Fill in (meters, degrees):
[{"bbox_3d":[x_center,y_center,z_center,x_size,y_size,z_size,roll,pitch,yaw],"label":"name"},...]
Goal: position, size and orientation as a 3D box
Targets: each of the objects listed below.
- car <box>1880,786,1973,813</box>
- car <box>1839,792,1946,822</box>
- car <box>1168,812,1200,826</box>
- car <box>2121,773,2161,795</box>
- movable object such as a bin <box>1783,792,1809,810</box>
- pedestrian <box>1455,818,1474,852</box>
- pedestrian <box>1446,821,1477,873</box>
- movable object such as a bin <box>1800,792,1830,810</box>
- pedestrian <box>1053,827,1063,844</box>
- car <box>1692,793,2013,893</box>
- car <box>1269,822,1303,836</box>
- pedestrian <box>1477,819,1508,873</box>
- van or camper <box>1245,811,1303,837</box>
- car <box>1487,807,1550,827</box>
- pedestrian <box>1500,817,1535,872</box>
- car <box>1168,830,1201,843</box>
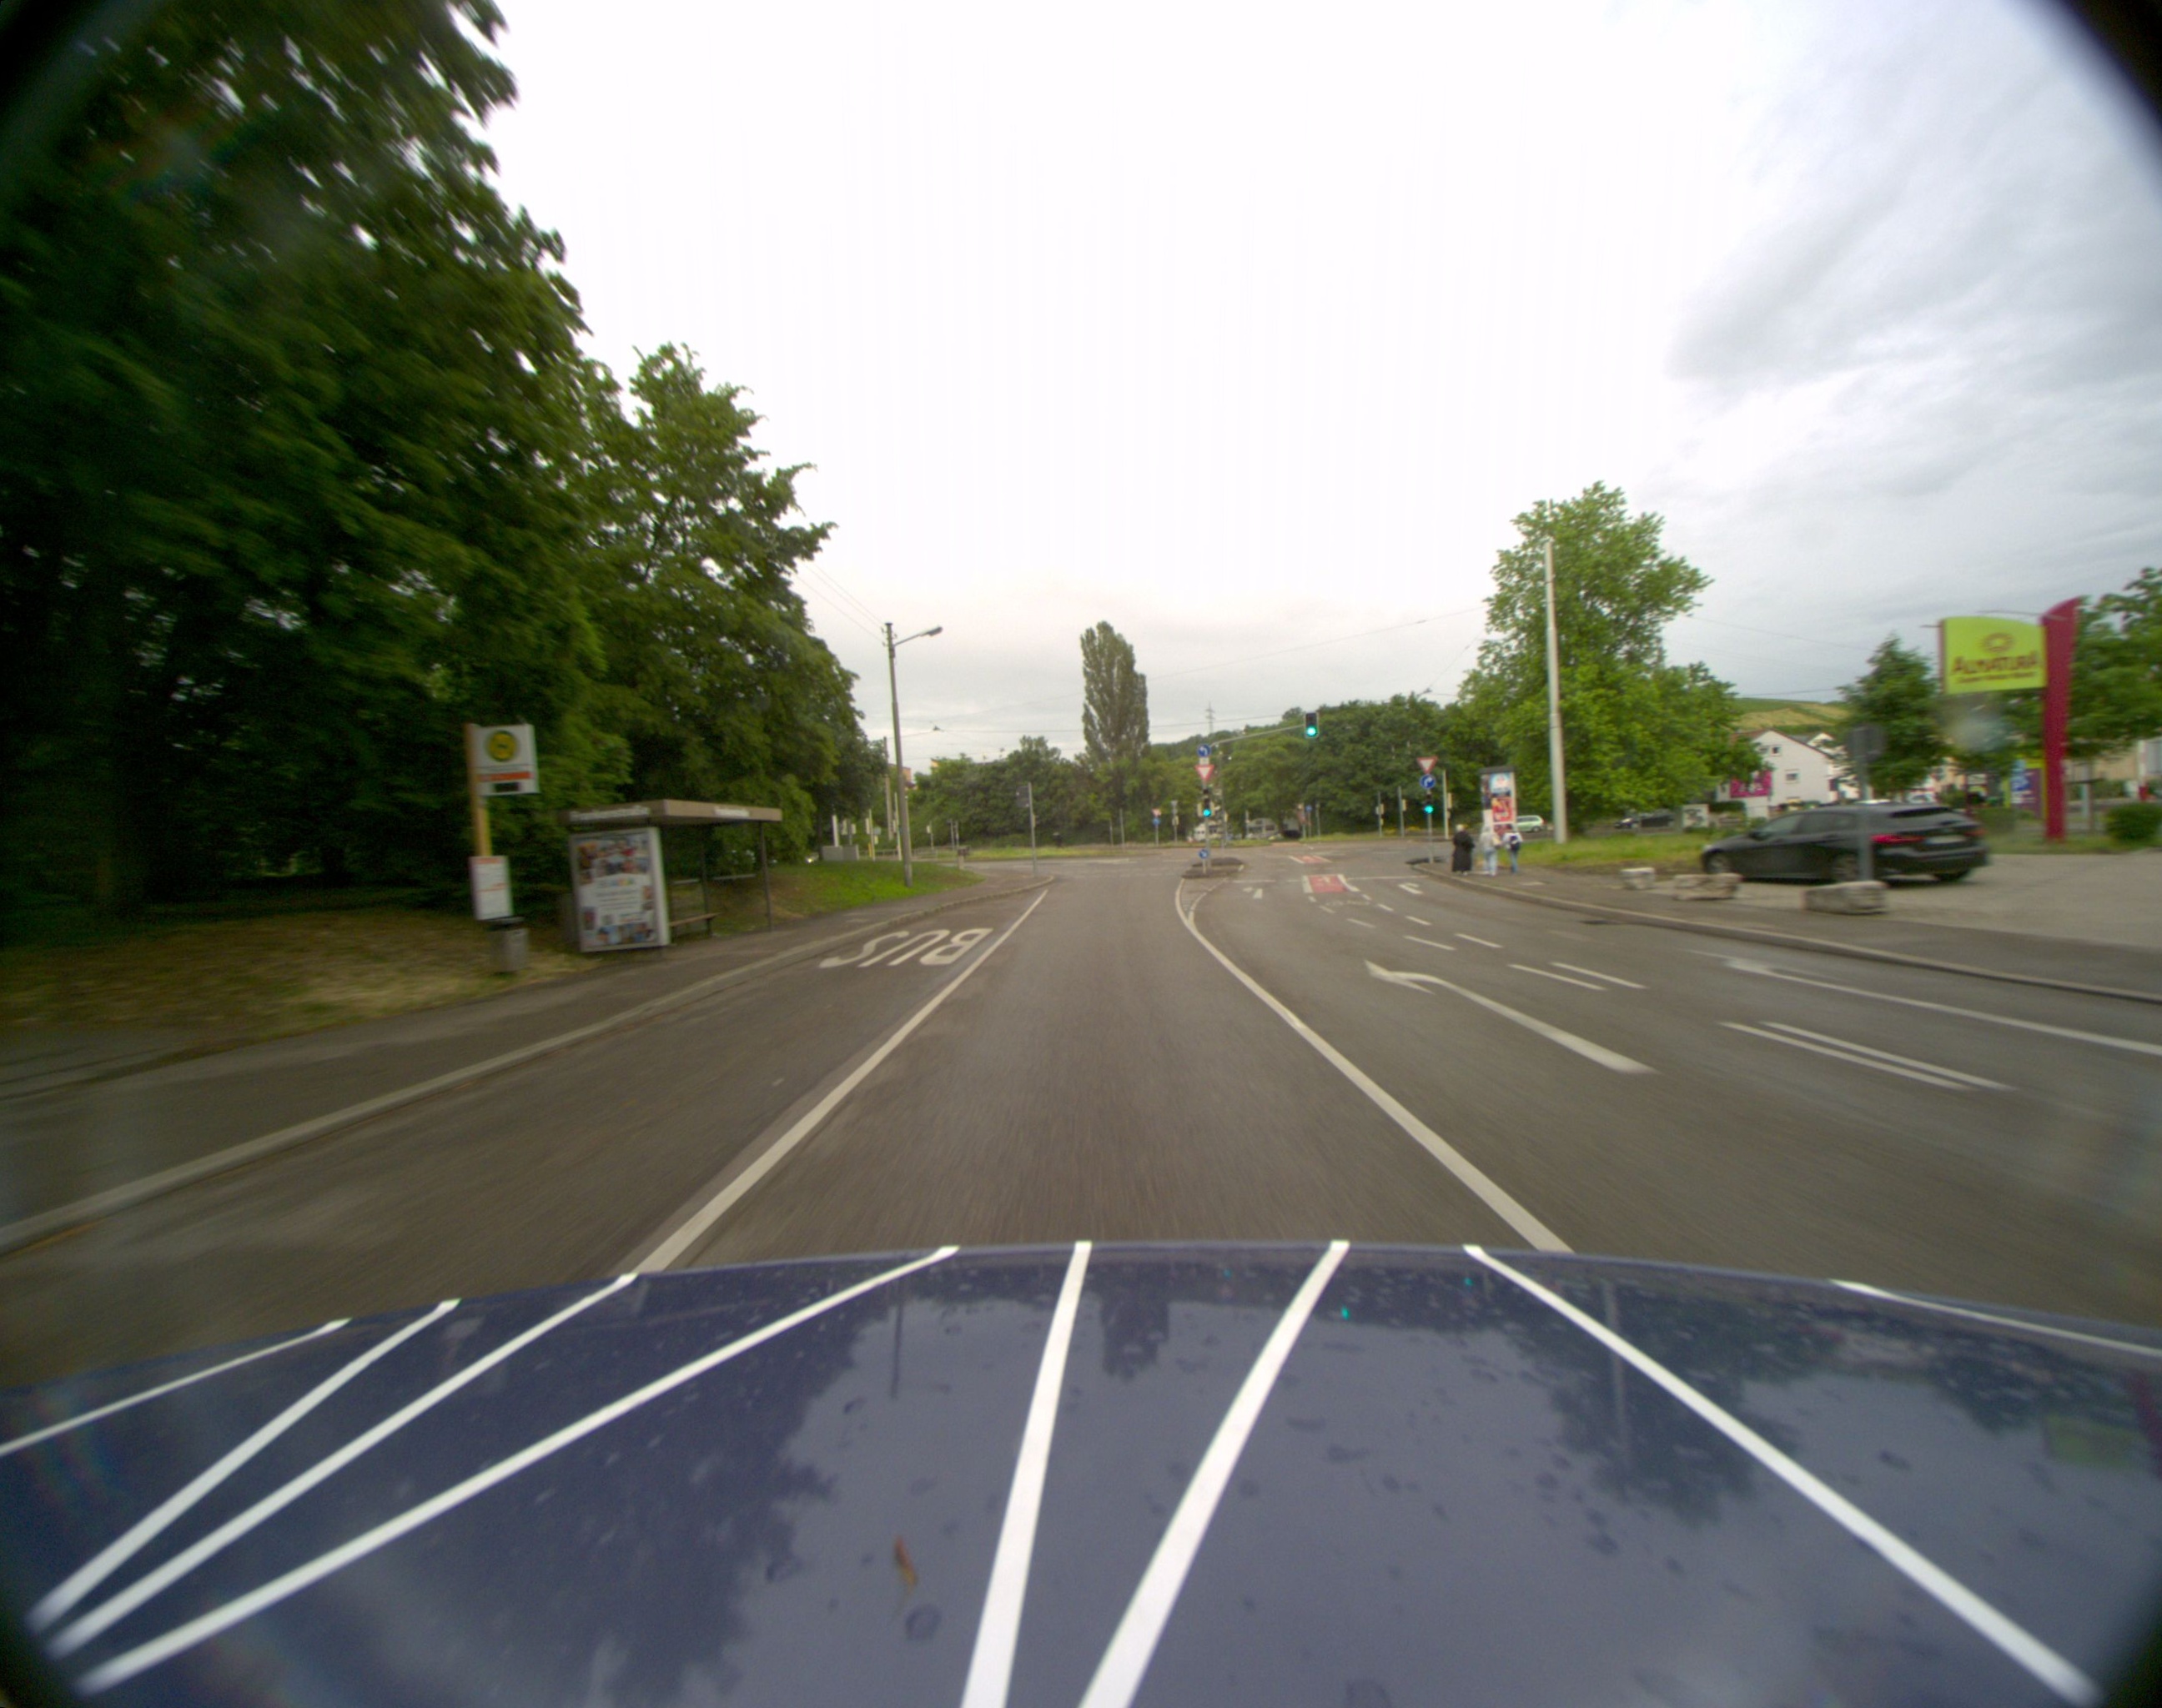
[{"bbox_3d":[60.826,-3.924,54.725,4.195,1.416,1.890,-5,0,9],"label":"car"},{"bbox_3d":[46.698,-2.716,43.788,3.994,1.474,1.693,-2,3,10],"label":"car"},{"bbox_3d":[13.221,-4.480,97.725,3.996,1.540,1.678,-3,2,4],"label":"car"},{"bbox_3d":[86.230,-5.652,60.199,4.432,1.524,1.844,-4,1,9],"label":"car"},{"bbox_3d":[64.136,-4.767,68.176,1.133,1.409,1.188,-5,1,8],"label":"movable object such as a bin"},{"bbox_3d":[17.765,-0.865,35.191,0.592,1.523,0.669,-5,1,16],"label":"pedestrian"},{"bbox_3d":[12.254,-0.237,24.473,0.657,1.593,0.678,-5,1,15],"label":"pedestrian"},{"bbox_3d":[65.694,-4.766,68.019,1.298,1.409,1.316,-5,0,8],"label":"movable object such as a bin"},{"bbox_3d":[-2.307,-1.851,76.276,0.682,1.597,0.810,-5,1,10],"label":"pedestrian"},{"bbox_3d":[14.025,-0.226,14.258,1.751,1.441,4.234,-5,1,2],"label":"car"},{"bbox_3d":[23.730,-2.883,88.060,3.469,1.346,1.678,-3,2,4],"label":"car"},{"bbox_3d":[12.771,-0.246,23.580,0.606,1.593,0.678,-5,1,15],"label":"pedestrian"},{"bbox_3d":[23.078,-3.638,90.993,6.424,2.739,2.431,-3,2,6],"label":"van or camper"},{"bbox_3d":[37.049,-3.137,64.452,4.195,1.441,1.890,-3,2,9],"label":"car"},{"bbox_3d":[13.381,-0.287,23.302,0.657,1.593,0.678,-5,1,15],"label":"pedestrian"},{"bbox_3d":[13.032,-2.232,95.645,3.996,1.346,1.678,-3,2,4],"label":"car"}]
